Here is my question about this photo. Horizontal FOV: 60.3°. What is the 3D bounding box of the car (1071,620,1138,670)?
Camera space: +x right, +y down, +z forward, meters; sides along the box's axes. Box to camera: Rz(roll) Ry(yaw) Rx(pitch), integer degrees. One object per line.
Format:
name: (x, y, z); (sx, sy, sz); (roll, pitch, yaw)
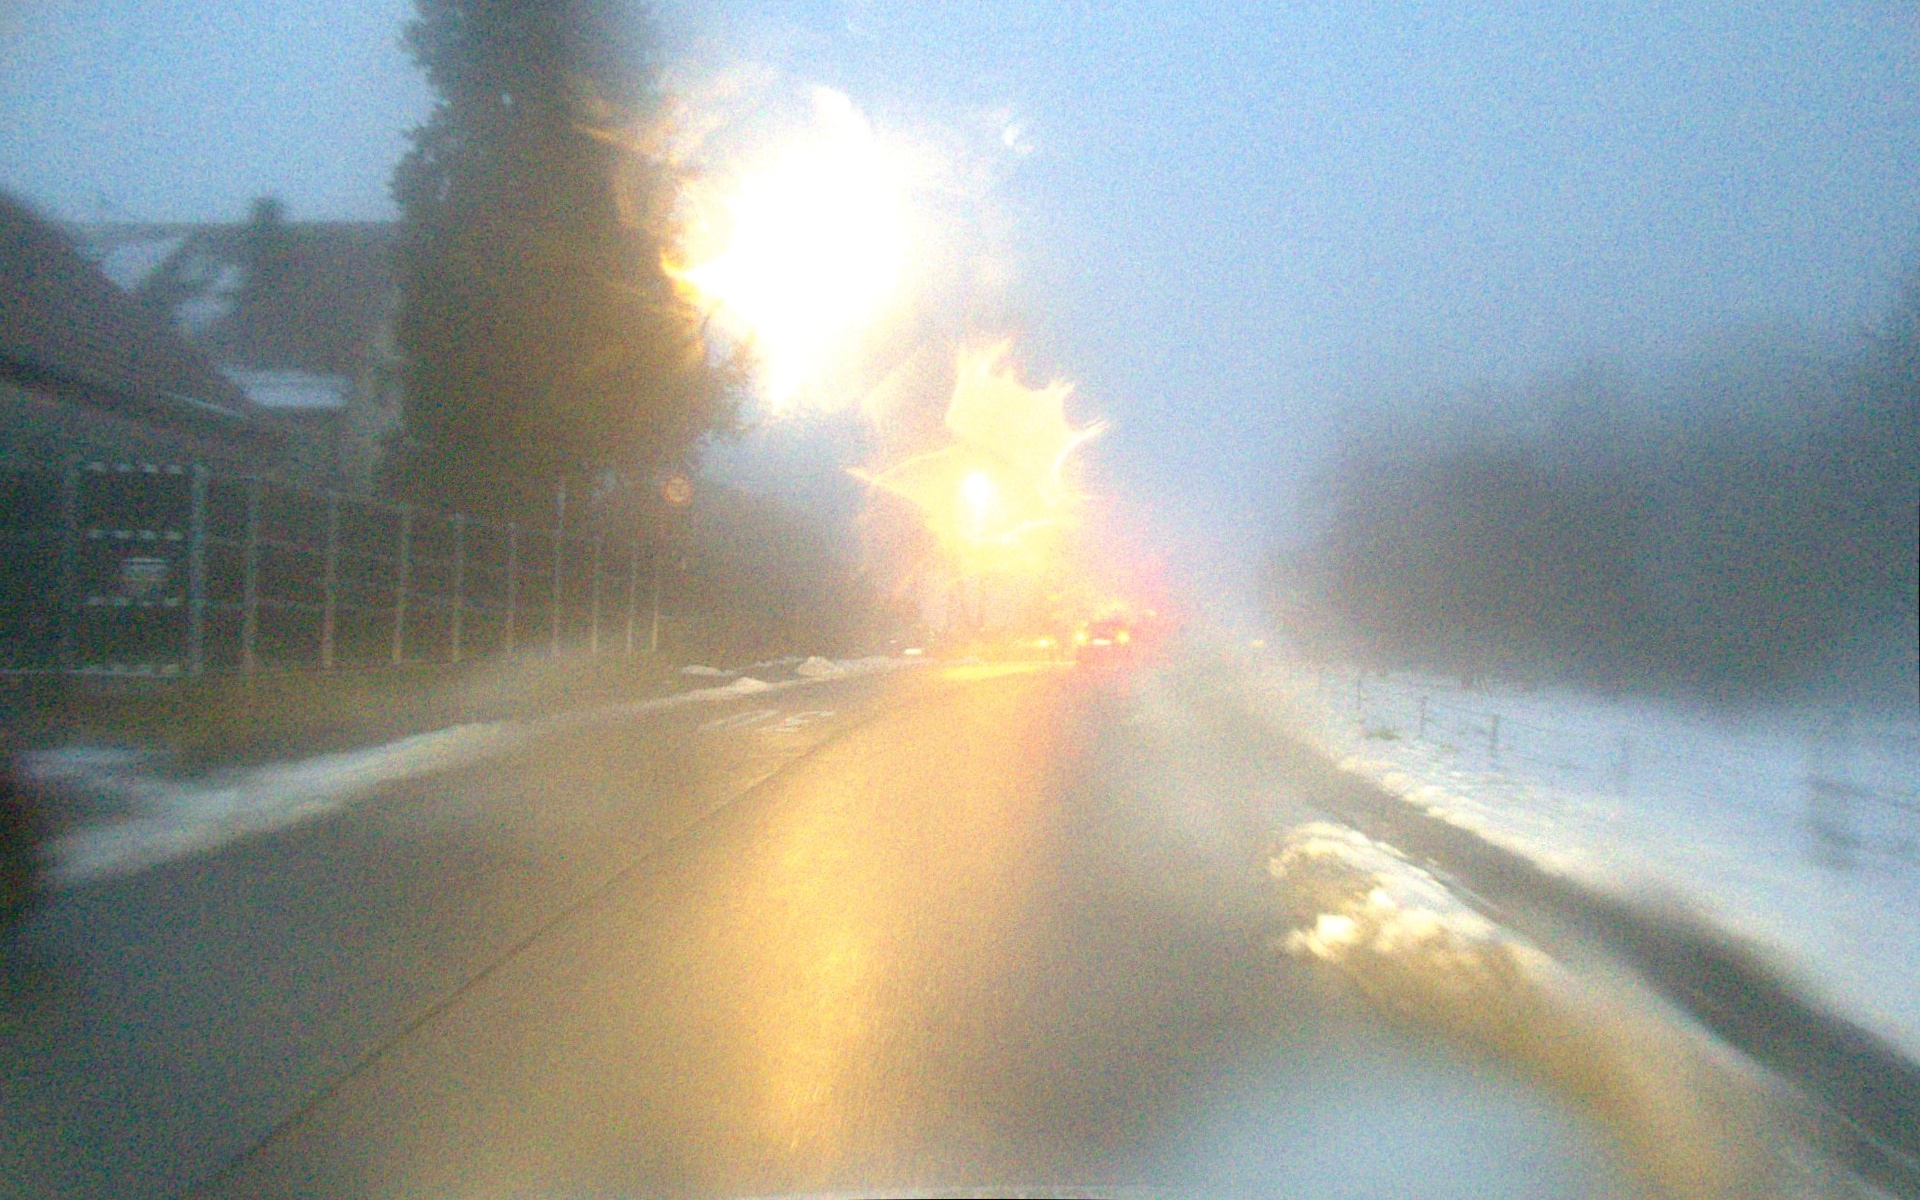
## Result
car: (4.472, 1.358, 50.769); (1.951, 1.445, 4.002); (1, -1, 6)

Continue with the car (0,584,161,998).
car: (-4.327, 0.655, 4.198); (1.838, 1.451, 5.393); (2, 0, 1)

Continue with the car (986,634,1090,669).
car: (3.860, 2.547, 81.488); (4.783, 1.511, 2.125); (-3, -3, 12)

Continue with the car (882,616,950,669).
car: (-1.568, 1.508, 57.169); (1.955, 1.594, 4.991); (-3, -3, -5)

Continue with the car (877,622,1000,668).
car: (-0.785, 1.725, 62.893); (4.432, 1.594, 2.111); (-2, -3, 4)
